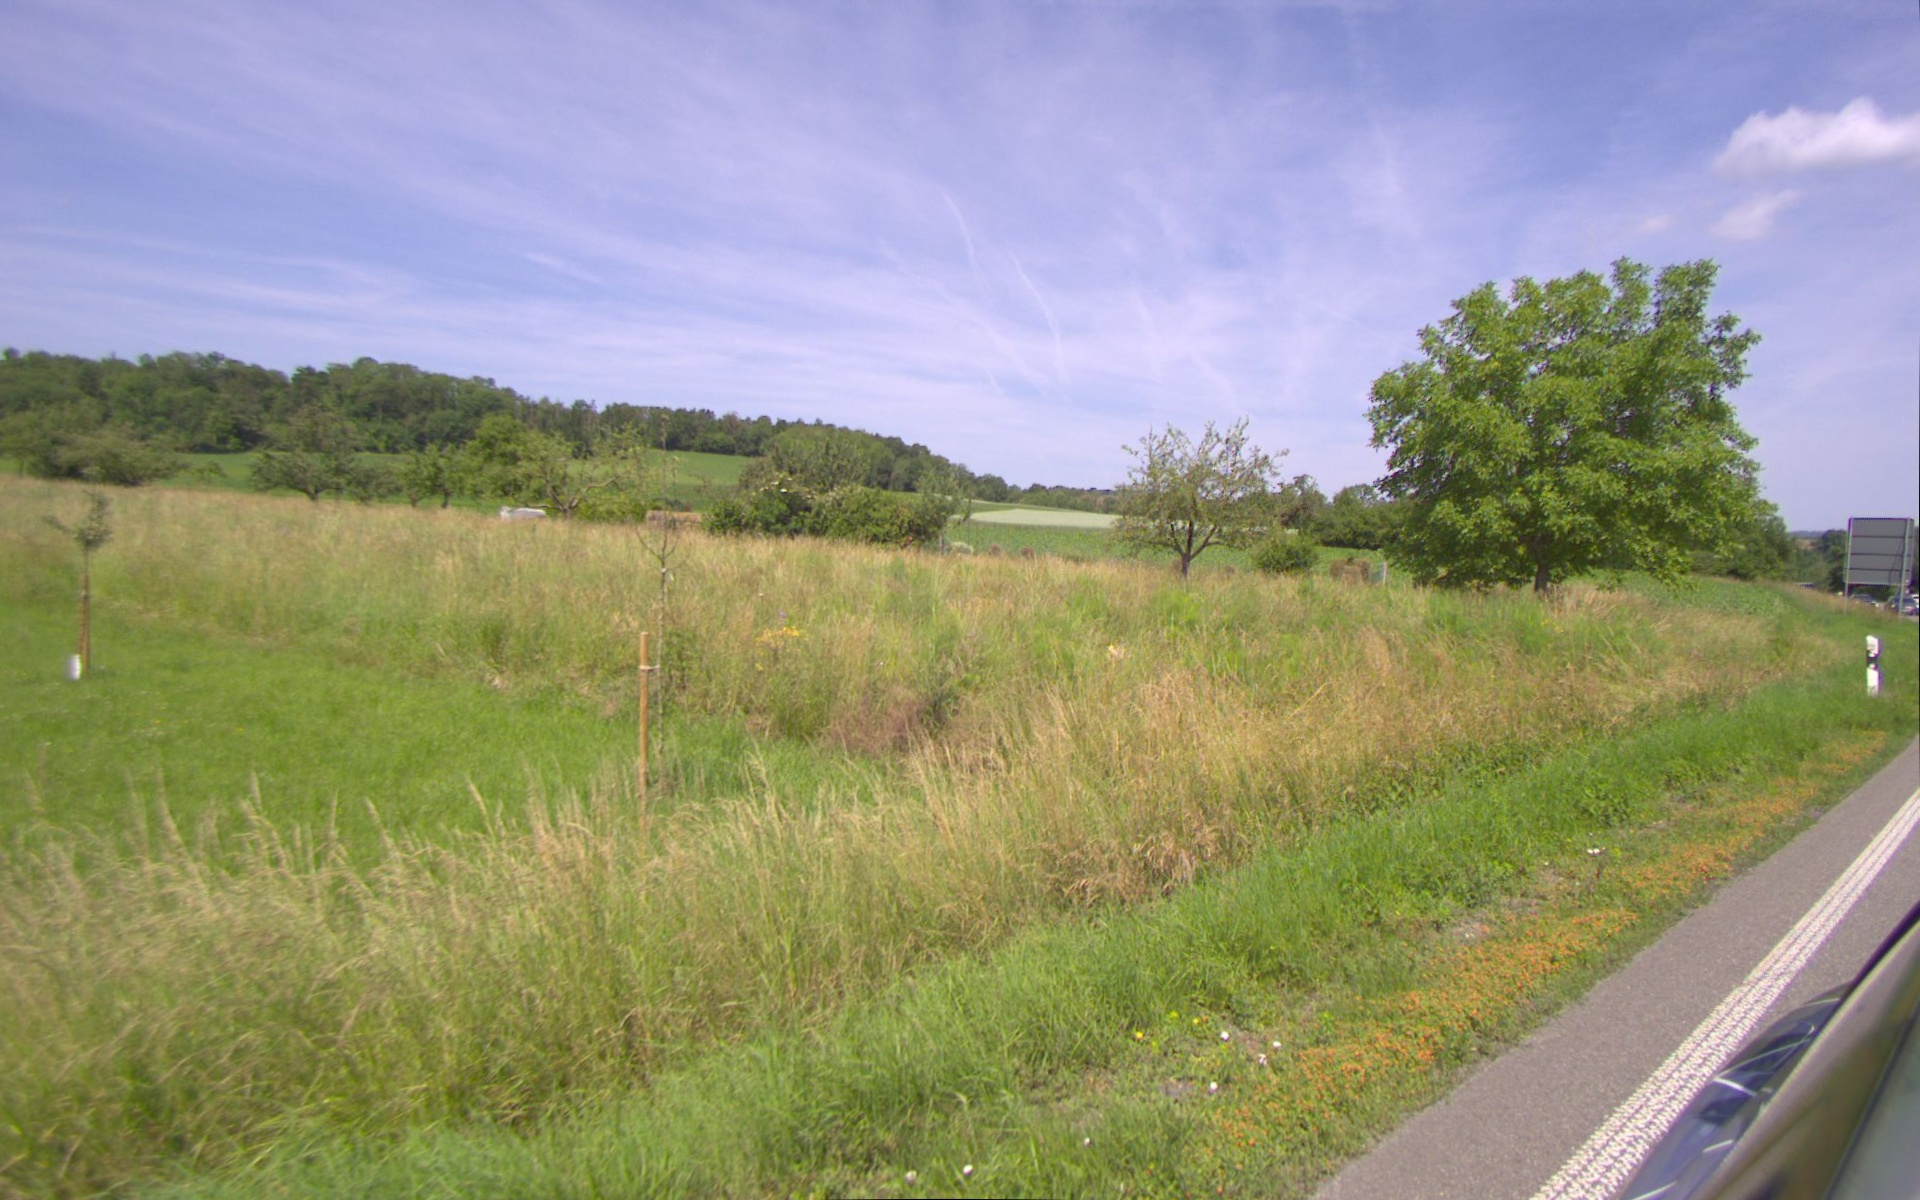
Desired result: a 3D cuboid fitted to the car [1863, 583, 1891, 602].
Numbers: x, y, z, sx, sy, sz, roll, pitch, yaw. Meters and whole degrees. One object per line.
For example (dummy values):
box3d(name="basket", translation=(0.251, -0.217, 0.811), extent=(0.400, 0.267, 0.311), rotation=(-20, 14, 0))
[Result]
box3d(name="car", translation=(87.627, -0.764, 96.764), extent=(1.659, 1.670, 3.944), rotation=(4, 3, 39))

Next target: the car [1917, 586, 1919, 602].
box3d(name="car", translation=(92.678, -0.502, 96.092), extent=(1.784, 1.540, 4.111), rotation=(3, 3, 33))

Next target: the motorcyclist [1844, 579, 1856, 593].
box3d(name="motorcyclist", translation=(110.159, -1.756, 125.277), extent=(0.916, 1.739, 0.951), rotation=(2, 2, 35))

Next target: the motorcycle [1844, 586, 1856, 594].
box3d(name="motorcycle", translation=(110.131, -1.255, 125.229), extent=(0.754, 1.006, 2.252), rotation=(3, 3, 33))

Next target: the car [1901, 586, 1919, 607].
box3d(name="car", translation=(74.378, -0.291, 78.319), extent=(1.817, 1.538, 3.945), rotation=(4, 3, 38))
